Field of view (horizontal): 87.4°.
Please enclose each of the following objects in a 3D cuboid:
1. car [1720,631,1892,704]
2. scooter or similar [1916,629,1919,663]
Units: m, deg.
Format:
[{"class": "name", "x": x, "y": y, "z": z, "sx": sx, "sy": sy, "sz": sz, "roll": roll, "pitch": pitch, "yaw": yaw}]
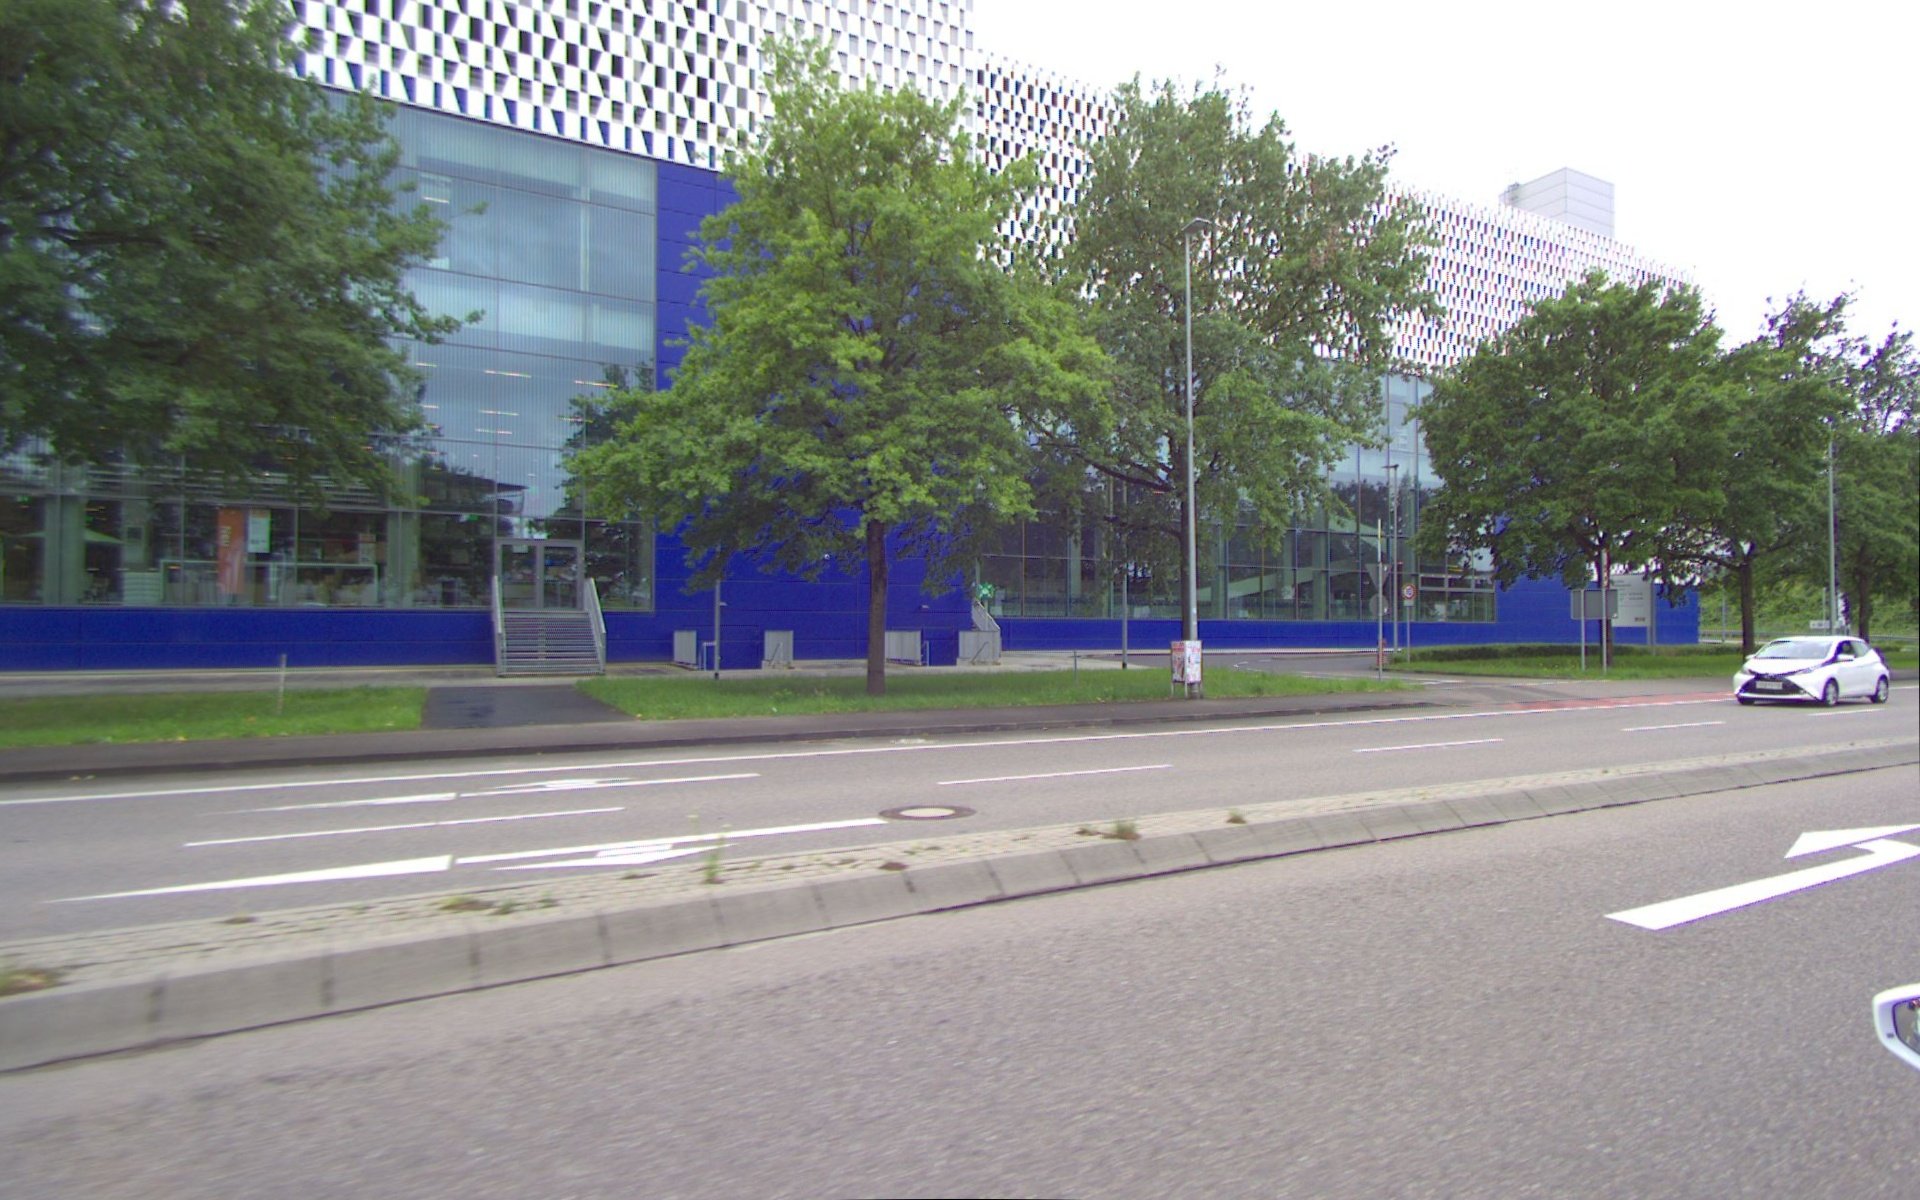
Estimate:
[{"class": "car", "x": 18.253, "y": 1.414, "z": 21.658, "sx": 3.566, "sy": 1.441, "sz": 1.618, "roll": 1, "pitch": -3, "yaw": -28}, {"class": "scooter or similar", "x": 38.404, "y": 1.816, "z": 39.553, "sx": 1.481, "sy": 1.339, "sz": 0.447, "roll": 0, "pitch": -1, "yaw": -18}]
